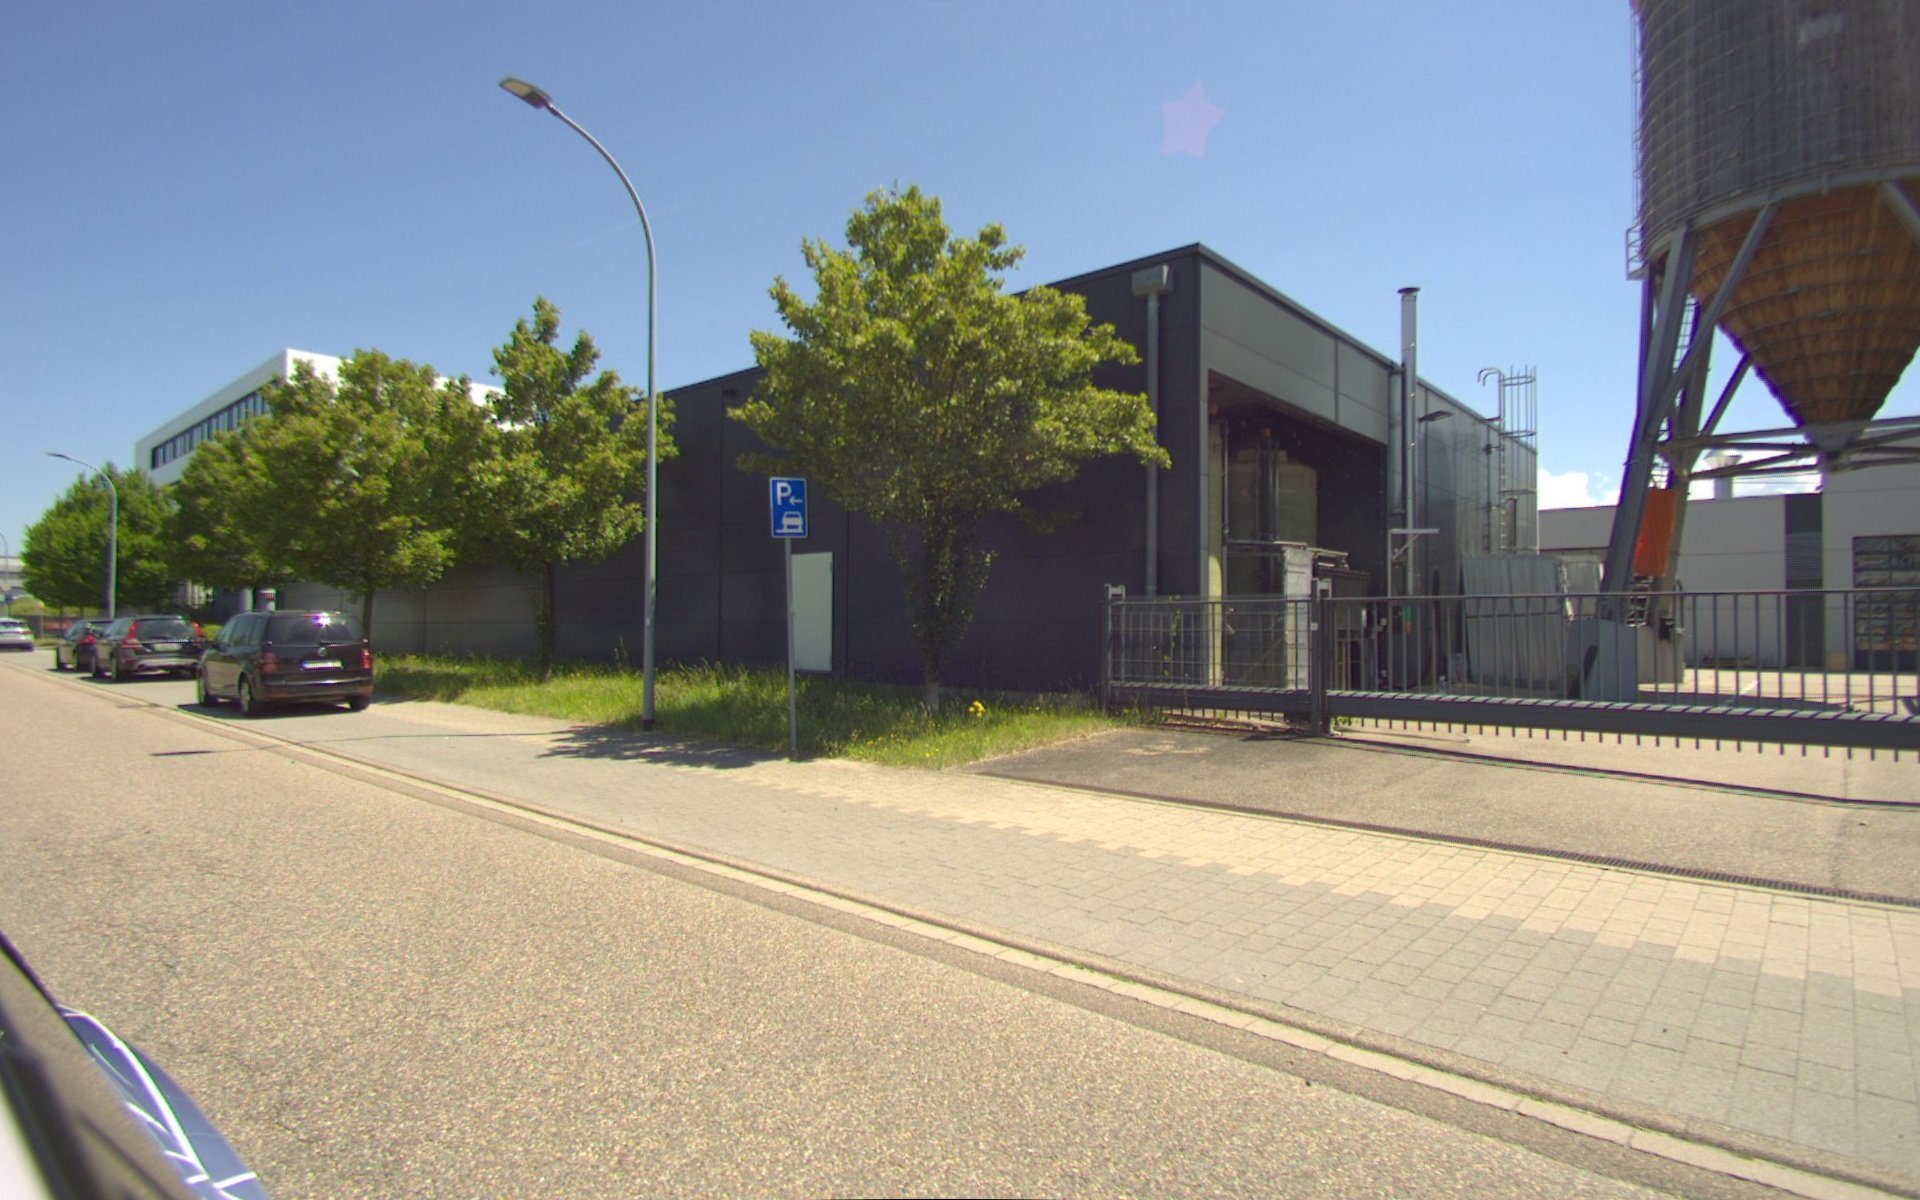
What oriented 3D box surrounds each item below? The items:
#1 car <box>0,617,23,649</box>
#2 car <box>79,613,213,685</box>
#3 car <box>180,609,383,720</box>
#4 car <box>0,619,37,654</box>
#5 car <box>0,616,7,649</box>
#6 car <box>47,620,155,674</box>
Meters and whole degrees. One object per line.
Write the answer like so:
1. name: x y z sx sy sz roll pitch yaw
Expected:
1. car: -45.655 1.579 47.725 4.200 1.441 1.752 -1 2 42
2. car: -20.352 1.152 25.221 4.849 1.624 1.752 -1 -1 41
3. car: -11.377 0.990 16.865 4.245 1.624 1.752 -1 -2 41
4. car: -41.834 1.581 44.299 3.939 1.442 1.752 -1 -1 42
5. car: -50.840 1.675 52.442 4.581 1.636 1.752 -1 -2 42
6. car: -24.791 1.307 29.161 4.198 1.442 1.752 -1 -1 41
